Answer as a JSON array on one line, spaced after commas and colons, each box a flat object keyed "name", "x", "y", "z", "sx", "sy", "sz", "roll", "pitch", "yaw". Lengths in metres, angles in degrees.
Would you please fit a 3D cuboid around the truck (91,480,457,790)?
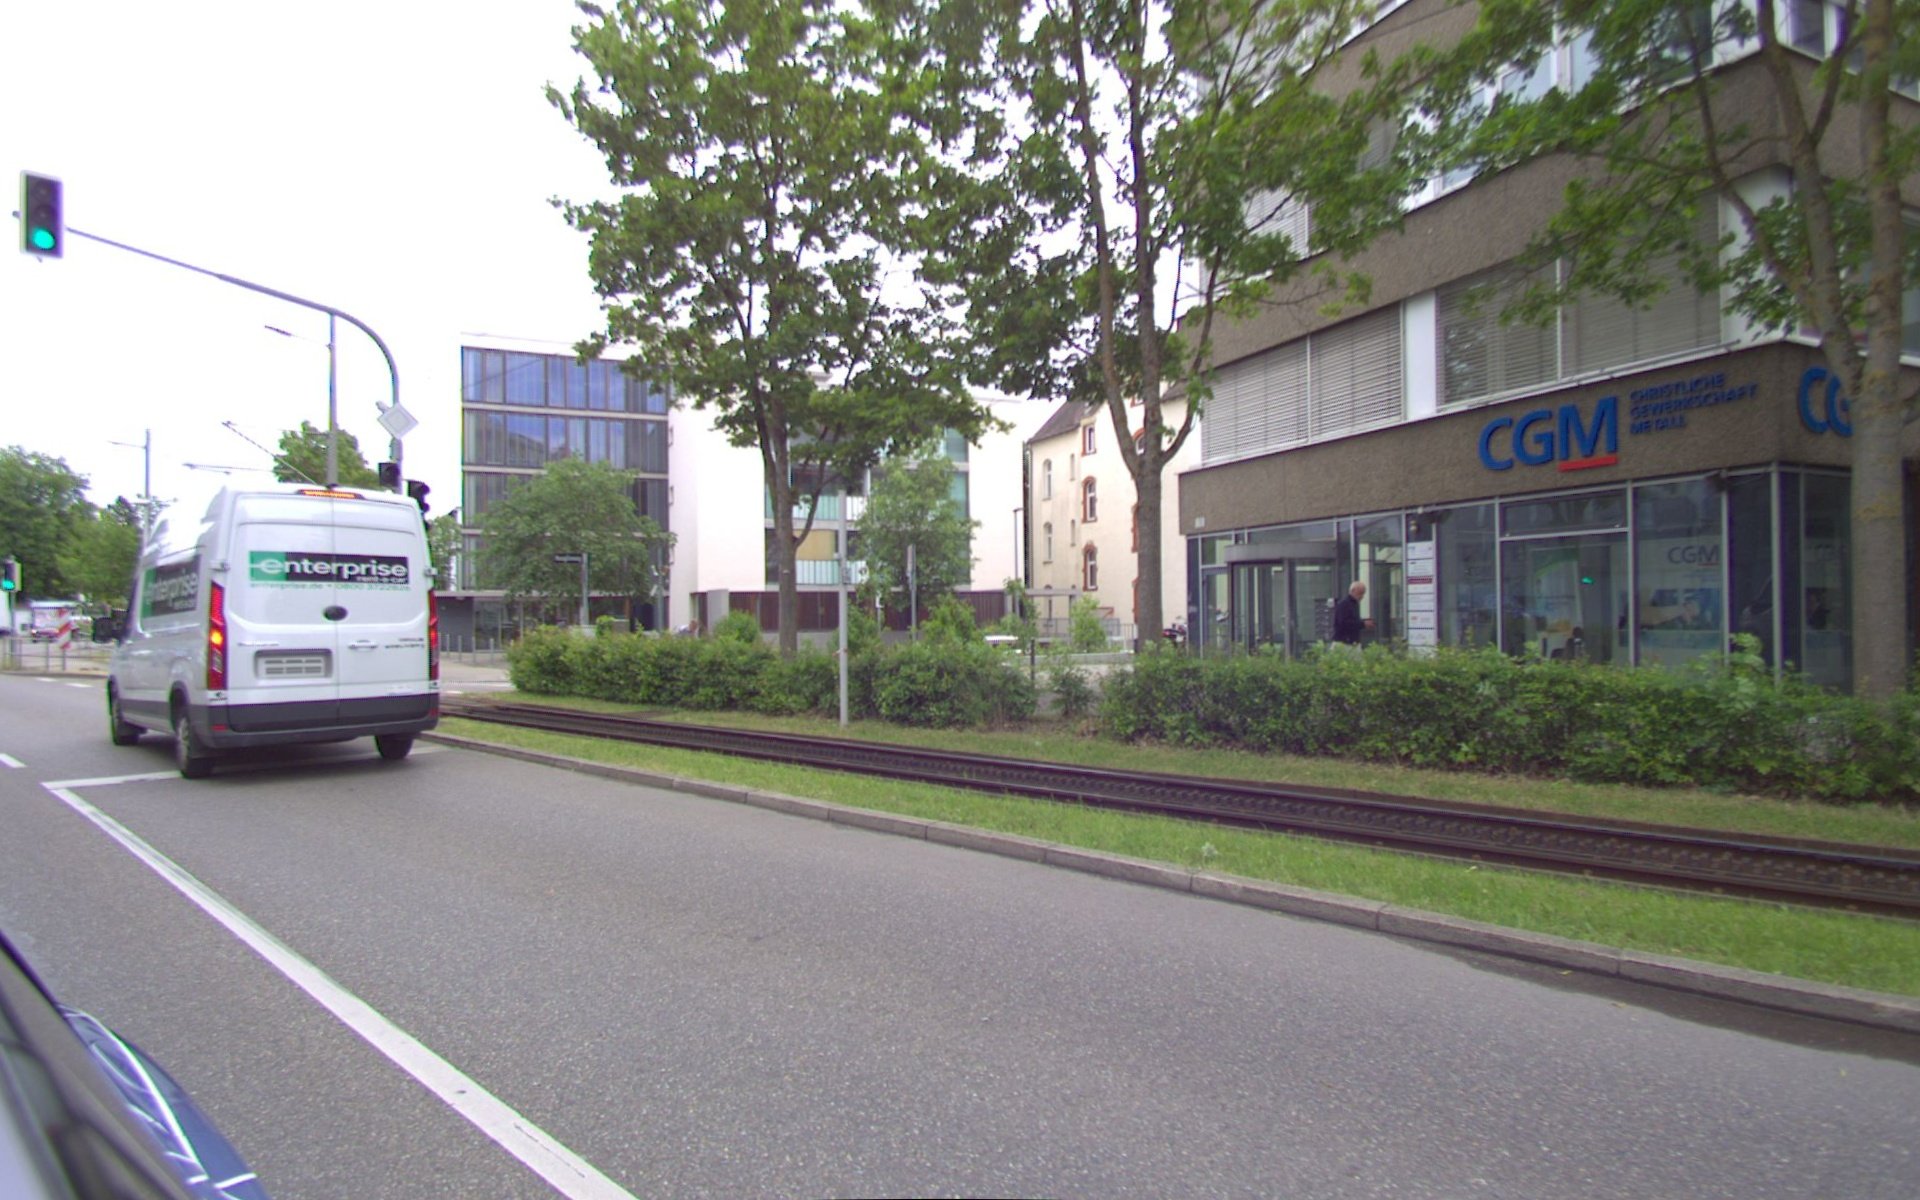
[{"name": "truck", "x": -7.908, "y": 0.350, "z": 11.359, "sx": 5.795, "sy": 2.635, "sz": 2.142, "roll": -1, "pitch": -1, "yaw": 43}]

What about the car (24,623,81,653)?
[{"name": "car", "x": -59.495, "y": 2.453, "z": 66.424, "sx": 1.819, "sy": 1.875, "sz": 4.271, "roll": 0, "pitch": -1, "yaw": -28}]

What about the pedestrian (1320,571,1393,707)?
[{"name": "pedestrian", "x": 5.178, "y": 0.501, "z": 13.219, "sx": 0.683, "sy": 1.718, "sz": 0.680, "roll": -1, "pitch": -2, "yaw": 43}]

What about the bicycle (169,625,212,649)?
[{"name": "bicycle", "x": -38.977, "y": 1.868, "z": 51.269, "sx": 1.682, "sy": 1.097, "sz": 0.409, "roll": -2, "pitch": 0, "yaw": -37}]

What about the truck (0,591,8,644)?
[{"name": "truck", "x": -63.256, "y": 1.143, "z": 63.617, "sx": 2.499, "sy": 3.452, "sz": 7.801, "roll": 0, "pitch": 0, "yaw": -24}]

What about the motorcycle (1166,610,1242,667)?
[{"name": "motorcycle", "x": 5.449, "y": 0.838, "z": 22.560, "sx": 1.854, "sy": 1.208, "sz": 0.569, "roll": 0, "pitch": -1, "yaw": -36}]

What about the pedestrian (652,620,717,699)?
[{"name": "pedestrian", "x": -5.561, "y": 1.182, "z": 20.423, "sx": 0.995, "sy": 1.538, "sz": 0.839, "roll": -1, "pitch": -2, "yaw": 39}]

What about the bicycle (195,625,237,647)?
[{"name": "bicycle", "x": -39.405, "y": 1.903, "z": 53.599, "sx": 1.724, "sy": 1.054, "sz": 0.409, "roll": -2, "pitch": 0, "yaw": -22}]
